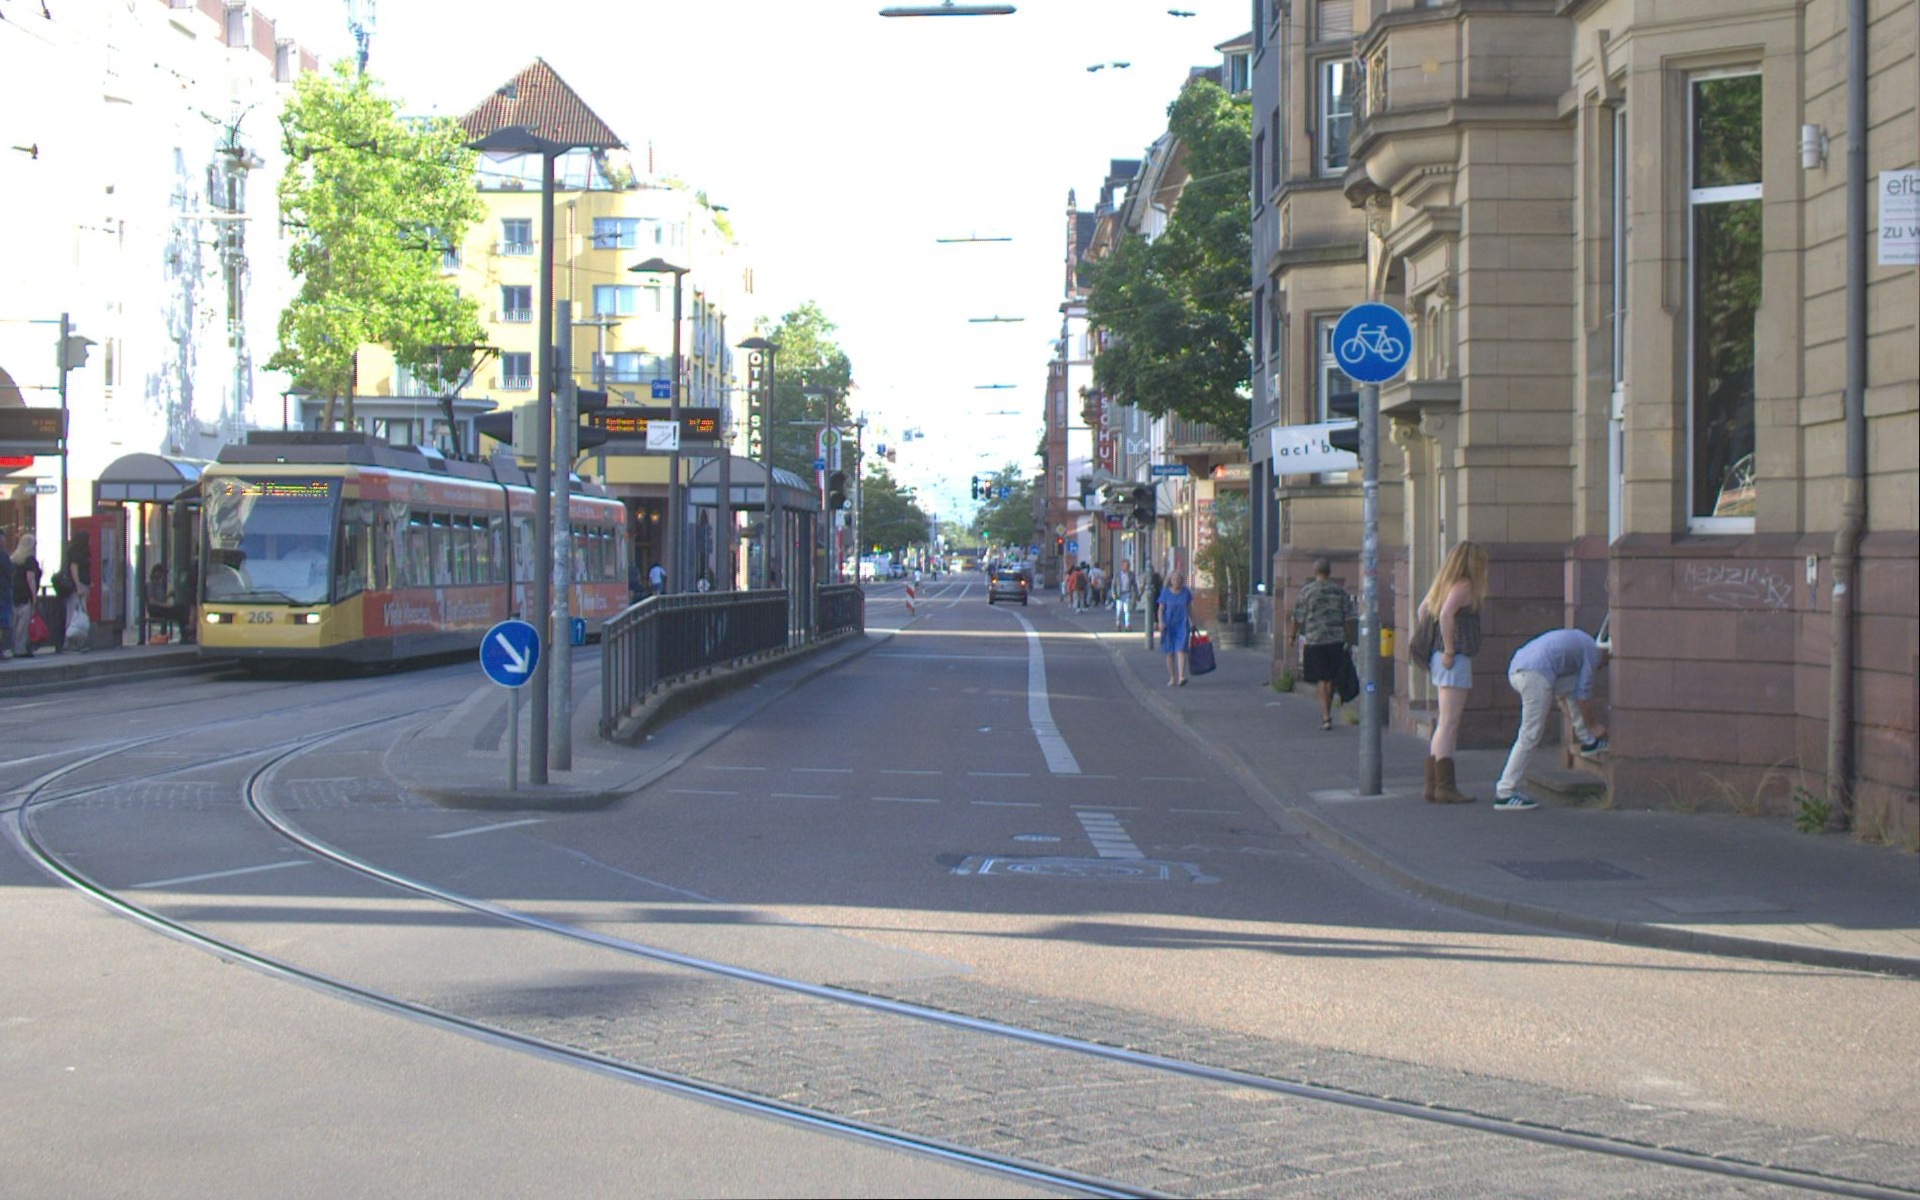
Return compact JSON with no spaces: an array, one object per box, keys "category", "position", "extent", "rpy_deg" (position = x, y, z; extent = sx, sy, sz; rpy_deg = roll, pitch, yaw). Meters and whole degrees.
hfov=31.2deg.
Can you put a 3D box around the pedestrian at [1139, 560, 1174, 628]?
[{"category":"pedestrian","position":[4.699,-0.137,82.206],"extent":[0.713,1.597,0.773],"rpy_deg":[-1,0,-2]}]

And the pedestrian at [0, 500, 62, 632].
[{"category":"pedestrian","position":[-12.493,-0.451,46.015],"extent":[0.765,1.727,0.519],"rpy_deg":[0,-2,42]}]

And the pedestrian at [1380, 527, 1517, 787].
[{"category":"pedestrian","position":[3.270,0.385,23.074],"extent":[0.794,1.715,0.719],"rpy_deg":[0,-2,-1]}]

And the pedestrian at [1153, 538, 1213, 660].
[{"category":"pedestrian","position":[3.036,-0.009,46.914],"extent":[0.762,1.640,0.832],"rpy_deg":[0,0,0]}]

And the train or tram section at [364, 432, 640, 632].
[{"category":"train or tram section","position":[-8.744,-1.137,67.863],"extent":[2.885,3.478,14.949],"rpy_deg":[1,0,2]}]

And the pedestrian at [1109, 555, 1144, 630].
[{"category":"pedestrian","position":[3.970,-0.173,81.932],"extent":[0.713,1.769,0.773],"rpy_deg":[-1,0,-2]}]

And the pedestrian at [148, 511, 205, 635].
[{"category":"pedestrian","position":[-12.286,-0.417,53.934],"extent":[0.695,1.898,0.672],"rpy_deg":[2,-1,-2]}]

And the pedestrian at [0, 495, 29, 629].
[{"category":"pedestrian","position":[-12.332,-0.489,44.017],"extent":[0.599,1.686,0.613],"rpy_deg":[2,-1,1]}]

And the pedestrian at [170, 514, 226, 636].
[{"category":"pedestrian","position":[-12.078,-0.391,54.533],"extent":[0.695,1.898,0.672],"rpy_deg":[2,-1,-2]}]

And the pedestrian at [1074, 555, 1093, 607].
[{"category":"pedestrian","position":[4.327,-0.675,120.739],"extent":[0.560,1.790,0.650],"rpy_deg":[1,-1,7]}]

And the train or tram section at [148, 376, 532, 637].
[{"category":"train or tram section","position":[-9.233,-1.214,53.359],"extent":[2.885,3.478,14.166],"rpy_deg":[1,0,2]}]

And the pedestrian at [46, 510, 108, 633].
[{"category":"pedestrian","position":[-12.401,-0.393,48.278],"extent":[0.695,1.685,0.672],"rpy_deg":[2,-2,-23]}]

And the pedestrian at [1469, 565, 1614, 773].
[{"category":"pedestrian","position":[3.766,0.452,22.306],"extent":[0.794,1.327,0.719],"rpy_deg":[0,-2,-1]}]

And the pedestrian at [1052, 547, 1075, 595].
[{"category":"pedestrian","position":[4.207,-1.160,139.515],"extent":[0.843,1.911,0.661],"rpy_deg":[1,-1,-1]}]

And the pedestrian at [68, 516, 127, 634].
[{"category":"pedestrian","position":[-12.557,-0.359,50.049],"extent":[0.695,1.685,0.672],"rpy_deg":[2,-2,-23]}]

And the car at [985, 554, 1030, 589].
[{"category":"car","position":[2.205,-1.321,160.547],"extent":[1.993,1.444,4.000],"rpy_deg":[2,-1,0]}]

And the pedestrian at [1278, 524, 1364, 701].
[{"category":"pedestrian","position":[3.756,0.125,35.786],"extent":[0.801,1.818,0.797],"rpy_deg":[0,0,0]}]
